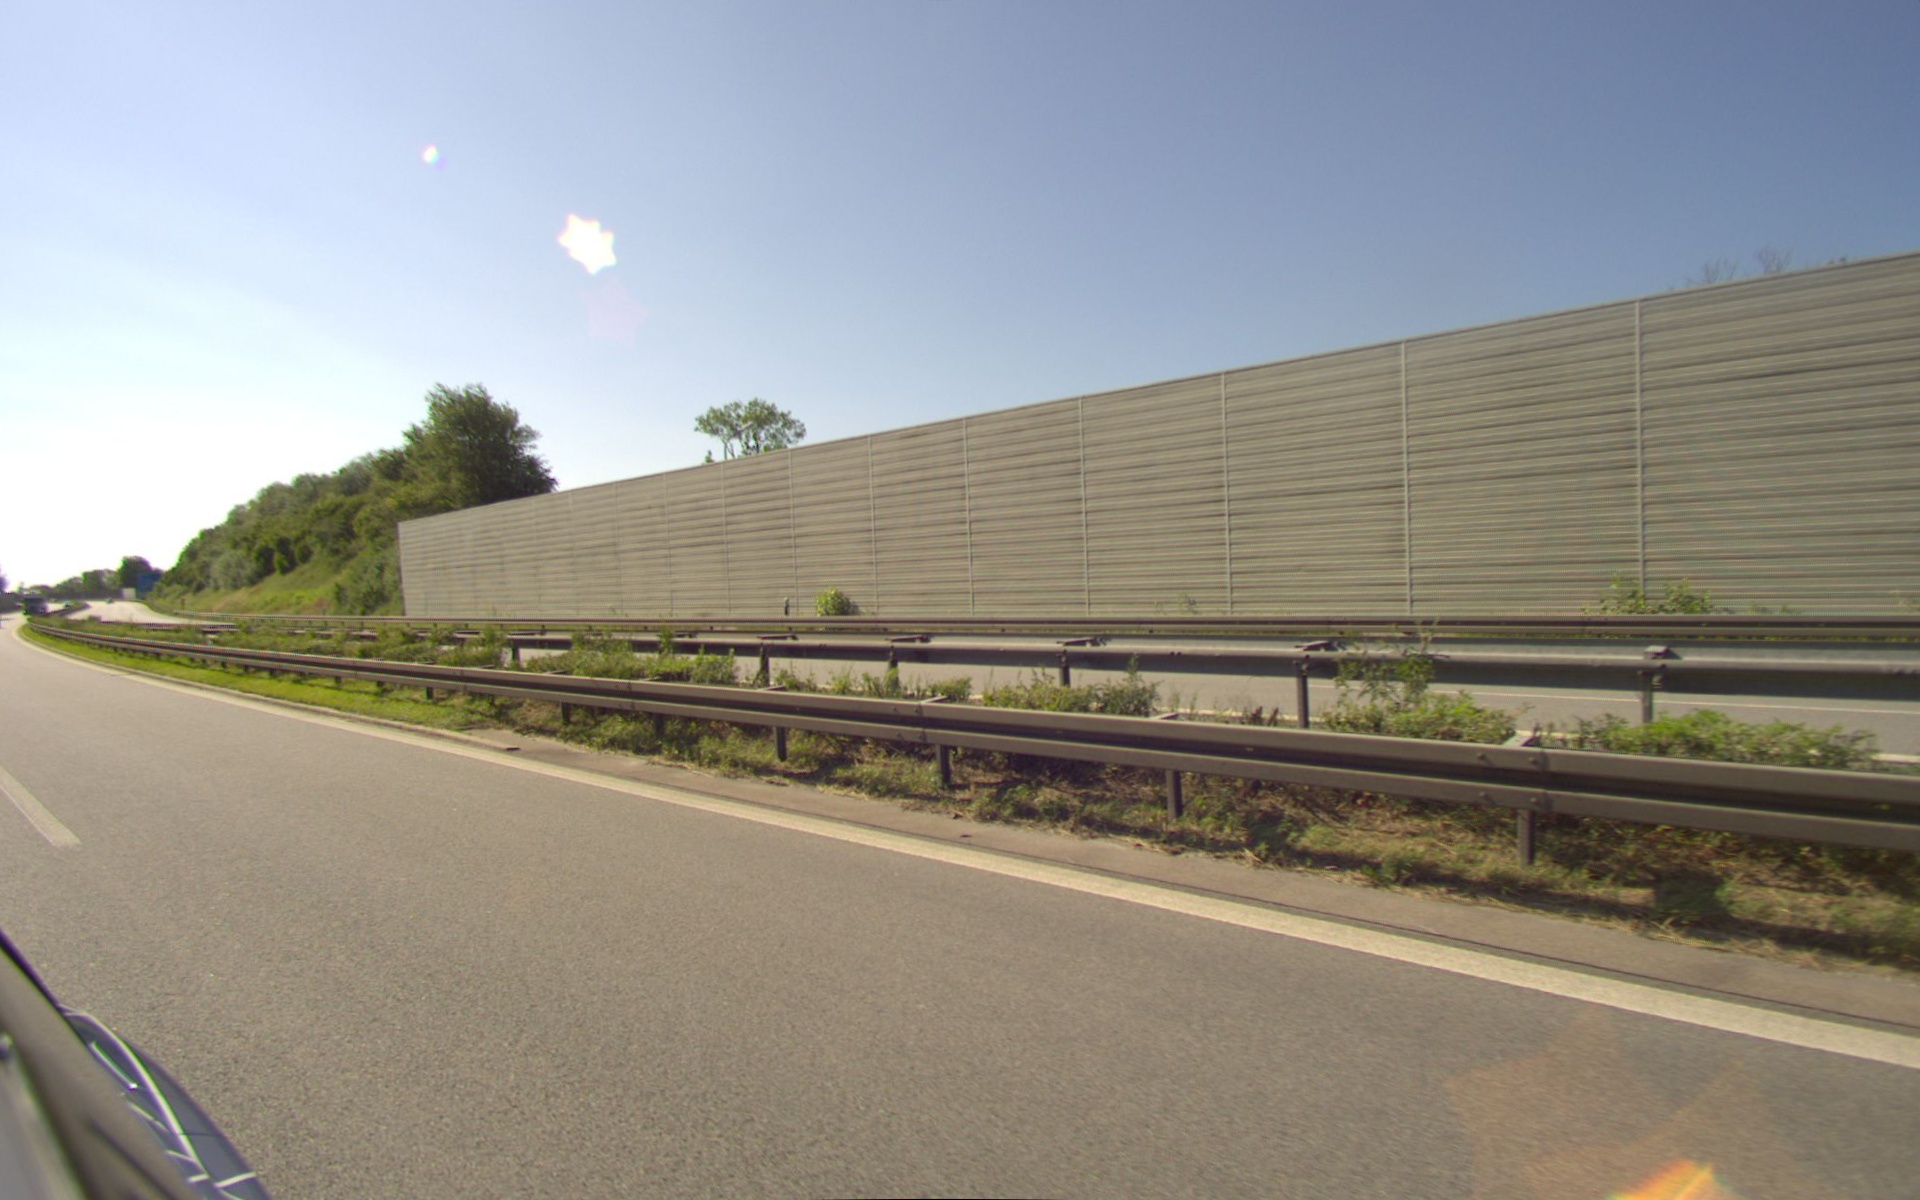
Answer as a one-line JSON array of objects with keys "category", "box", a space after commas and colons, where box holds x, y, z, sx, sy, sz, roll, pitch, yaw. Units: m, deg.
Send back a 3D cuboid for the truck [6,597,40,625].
[{"category": "truck", "box": [-151.082, 1.813, 163.115, 12.090, 4.243, 3.387, -1, 0, 44]}]
